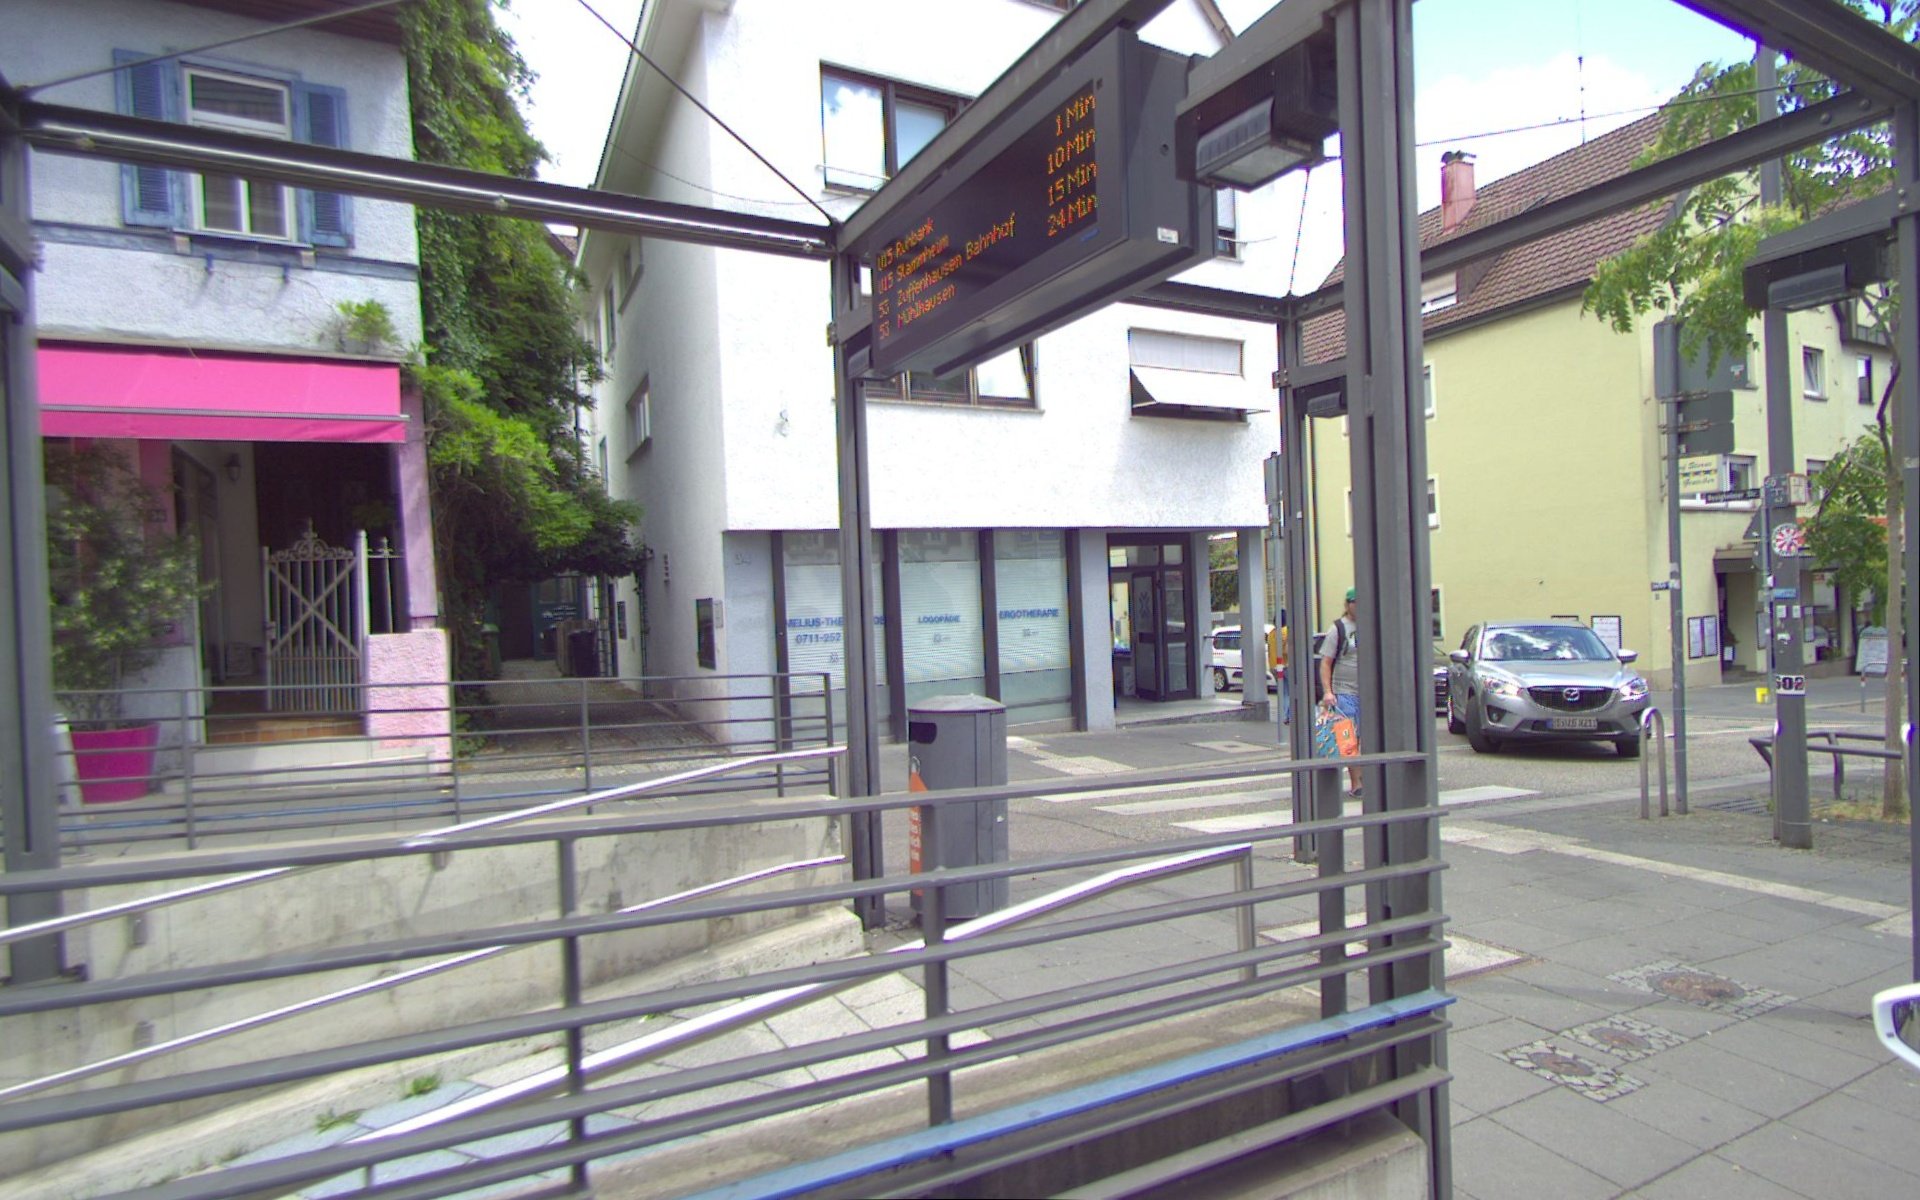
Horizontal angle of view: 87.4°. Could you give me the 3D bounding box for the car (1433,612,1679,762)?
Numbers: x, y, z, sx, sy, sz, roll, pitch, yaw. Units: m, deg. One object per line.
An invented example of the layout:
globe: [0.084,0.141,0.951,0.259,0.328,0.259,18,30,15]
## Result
car: [7.623,1.028,13.342,1.931,1.642,4.356,-1,-2,19]

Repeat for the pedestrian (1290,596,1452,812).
pedestrian: [3.660,0.882,9.014,0.971,1.811,0.917,0,-1,-15]

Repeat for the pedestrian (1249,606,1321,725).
pedestrian: [4.964,0.989,15.340,0.827,1.761,0.633,1,-3,-33]

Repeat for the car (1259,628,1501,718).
car: [8.255,1.378,20.185,1.889,1.589,4.345,0,-2,-25]

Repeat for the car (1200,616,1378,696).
car: [8.643,1.519,26.786,1.973,1.829,4.327,-3,-3,-26]

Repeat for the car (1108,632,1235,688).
car: [6.552,1.906,31.681,1.713,1.650,4.330,1,-4,-24]
